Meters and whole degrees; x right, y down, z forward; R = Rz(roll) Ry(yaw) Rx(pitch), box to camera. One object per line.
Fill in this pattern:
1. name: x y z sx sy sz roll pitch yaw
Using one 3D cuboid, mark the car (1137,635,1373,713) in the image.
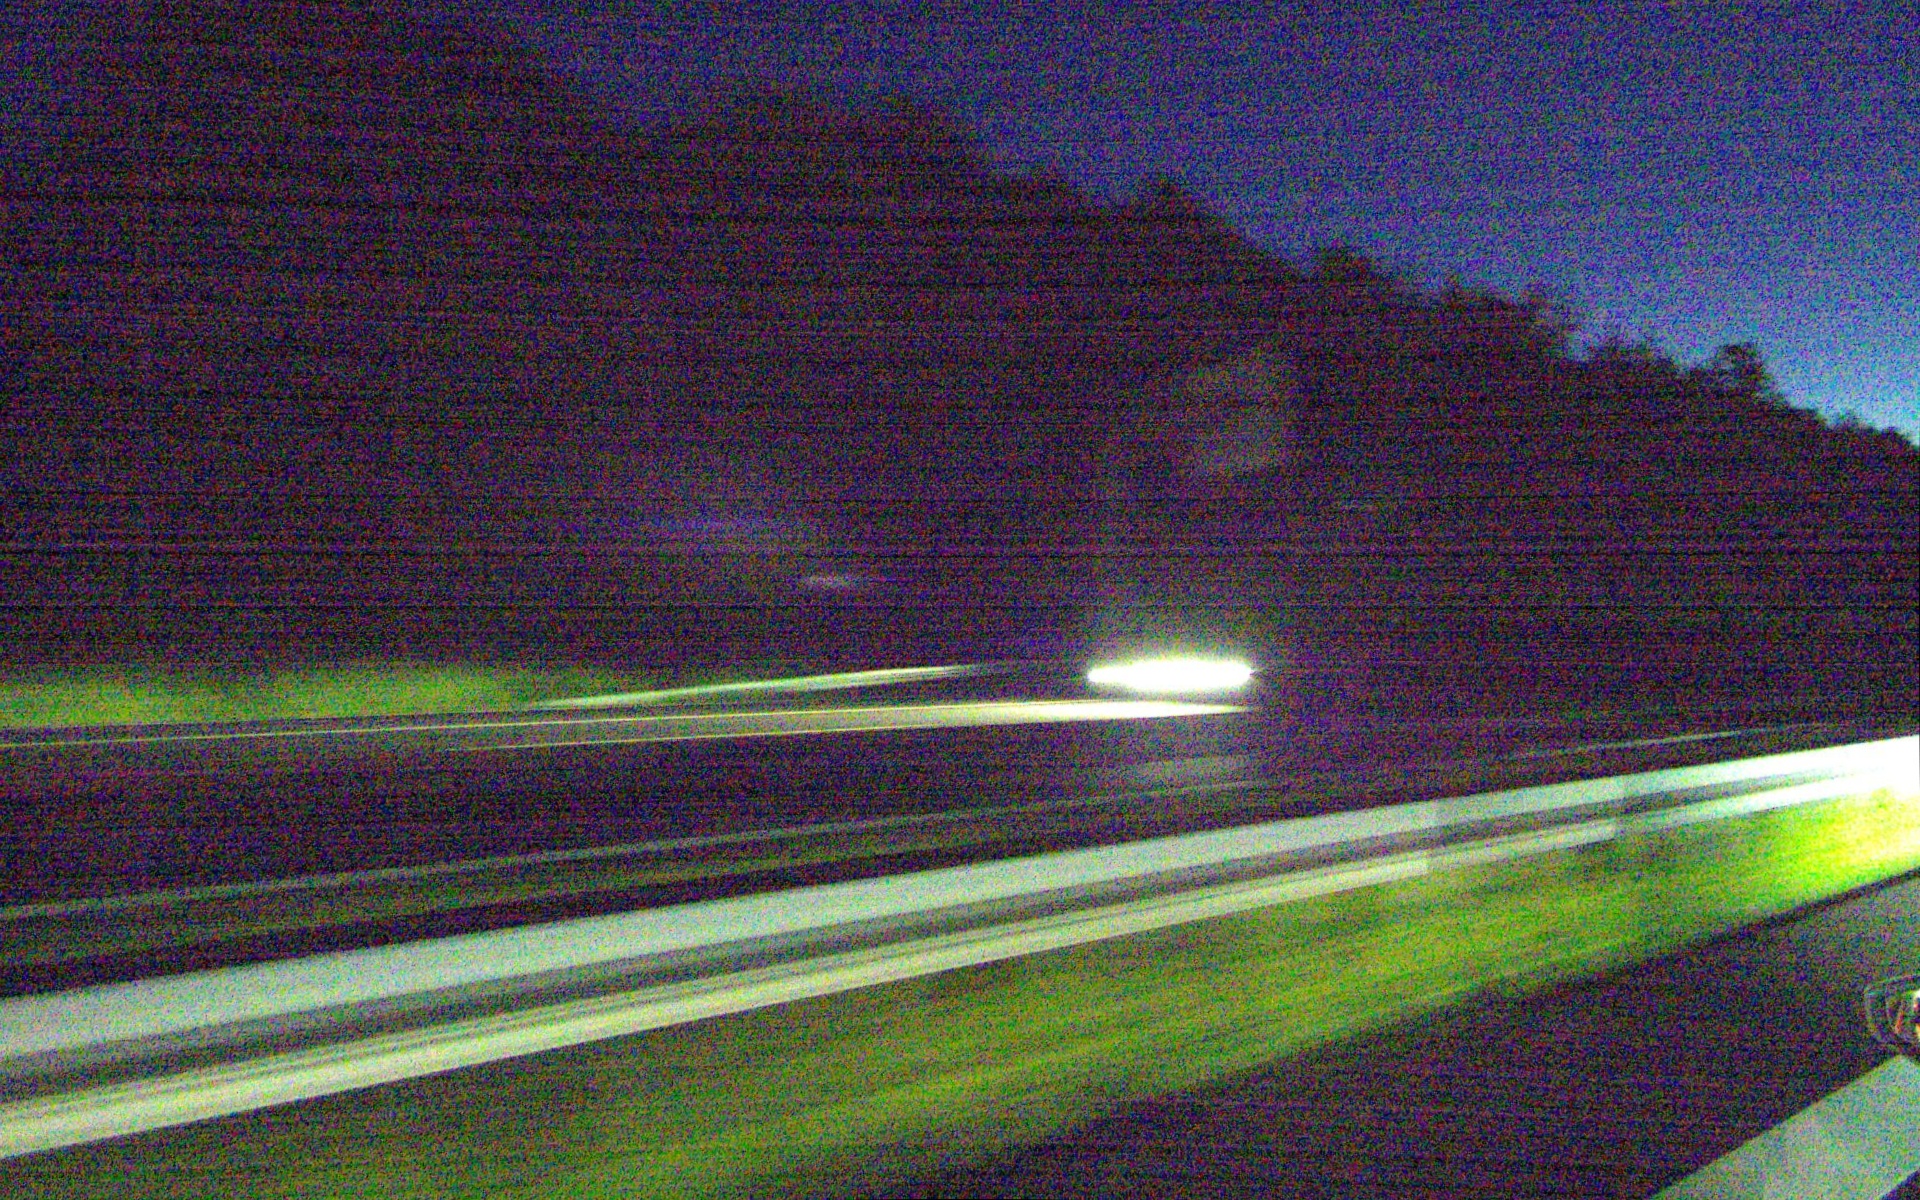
1. car: 6.470 1.533 21.819 5.141 1.523 1.984 1 -3 -31
